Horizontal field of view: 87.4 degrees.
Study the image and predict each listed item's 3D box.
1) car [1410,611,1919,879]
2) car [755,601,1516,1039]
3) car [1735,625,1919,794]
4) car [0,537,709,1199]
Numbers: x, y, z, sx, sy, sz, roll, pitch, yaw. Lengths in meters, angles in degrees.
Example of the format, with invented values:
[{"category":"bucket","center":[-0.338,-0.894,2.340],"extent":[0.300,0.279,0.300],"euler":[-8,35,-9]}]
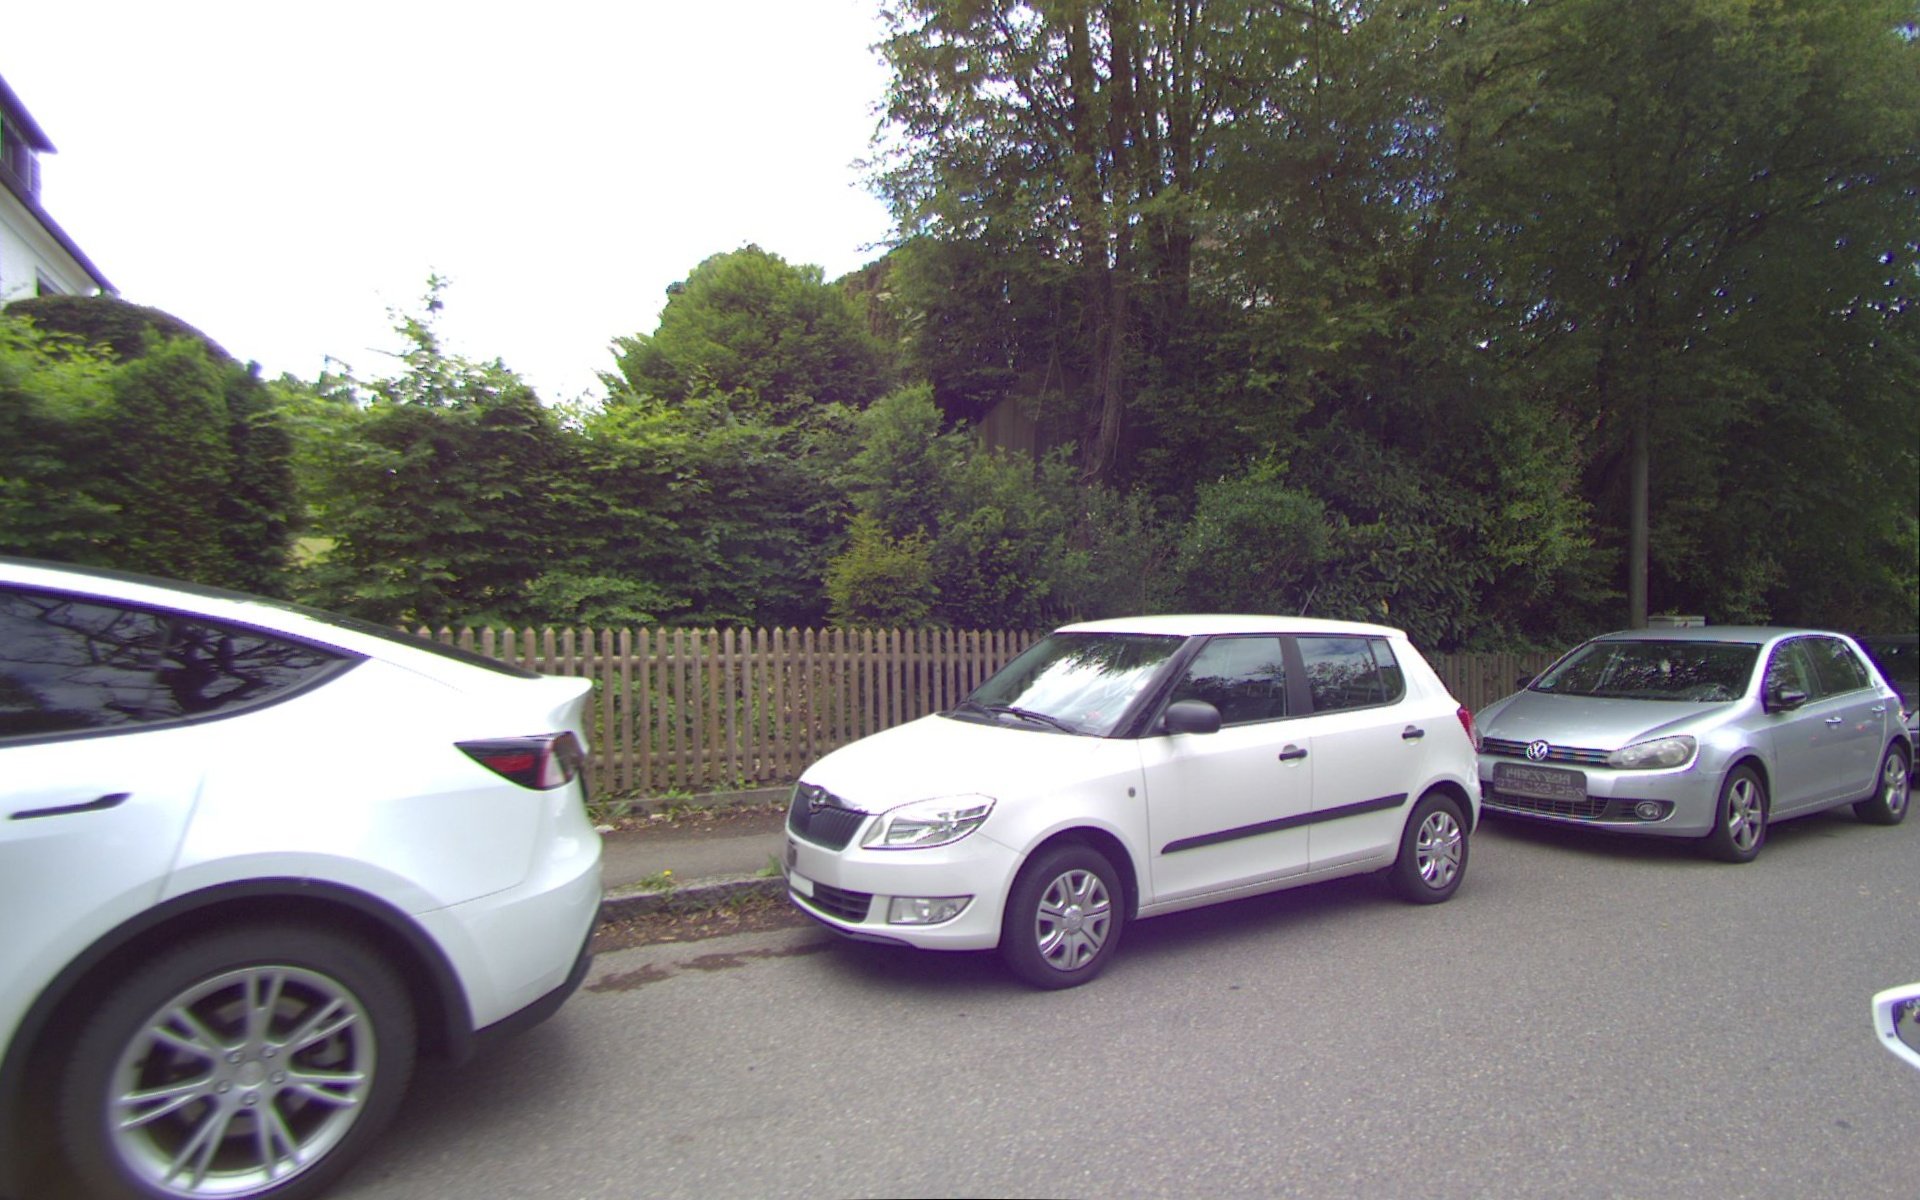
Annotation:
[{"category":"car","center":[5.356,0.896,7.506],"extent":[3.962,1.524,1.712],"euler":[1,-2,-31]},{"category":"car","center":[1.025,0.824,5.263],"extent":[3.775,1.524,1.711],"euler":[1,-2,-32]},{"category":"car","center":[10.107,1.053,10.608],"extent":[4.014,1.524,1.712],"euler":[1,-2,-31]},{"category":"car","center":[-3.151,0.673,2.506],"extent":[4.554,1.582,1.905],"euler":[1,-2,-33]}]
